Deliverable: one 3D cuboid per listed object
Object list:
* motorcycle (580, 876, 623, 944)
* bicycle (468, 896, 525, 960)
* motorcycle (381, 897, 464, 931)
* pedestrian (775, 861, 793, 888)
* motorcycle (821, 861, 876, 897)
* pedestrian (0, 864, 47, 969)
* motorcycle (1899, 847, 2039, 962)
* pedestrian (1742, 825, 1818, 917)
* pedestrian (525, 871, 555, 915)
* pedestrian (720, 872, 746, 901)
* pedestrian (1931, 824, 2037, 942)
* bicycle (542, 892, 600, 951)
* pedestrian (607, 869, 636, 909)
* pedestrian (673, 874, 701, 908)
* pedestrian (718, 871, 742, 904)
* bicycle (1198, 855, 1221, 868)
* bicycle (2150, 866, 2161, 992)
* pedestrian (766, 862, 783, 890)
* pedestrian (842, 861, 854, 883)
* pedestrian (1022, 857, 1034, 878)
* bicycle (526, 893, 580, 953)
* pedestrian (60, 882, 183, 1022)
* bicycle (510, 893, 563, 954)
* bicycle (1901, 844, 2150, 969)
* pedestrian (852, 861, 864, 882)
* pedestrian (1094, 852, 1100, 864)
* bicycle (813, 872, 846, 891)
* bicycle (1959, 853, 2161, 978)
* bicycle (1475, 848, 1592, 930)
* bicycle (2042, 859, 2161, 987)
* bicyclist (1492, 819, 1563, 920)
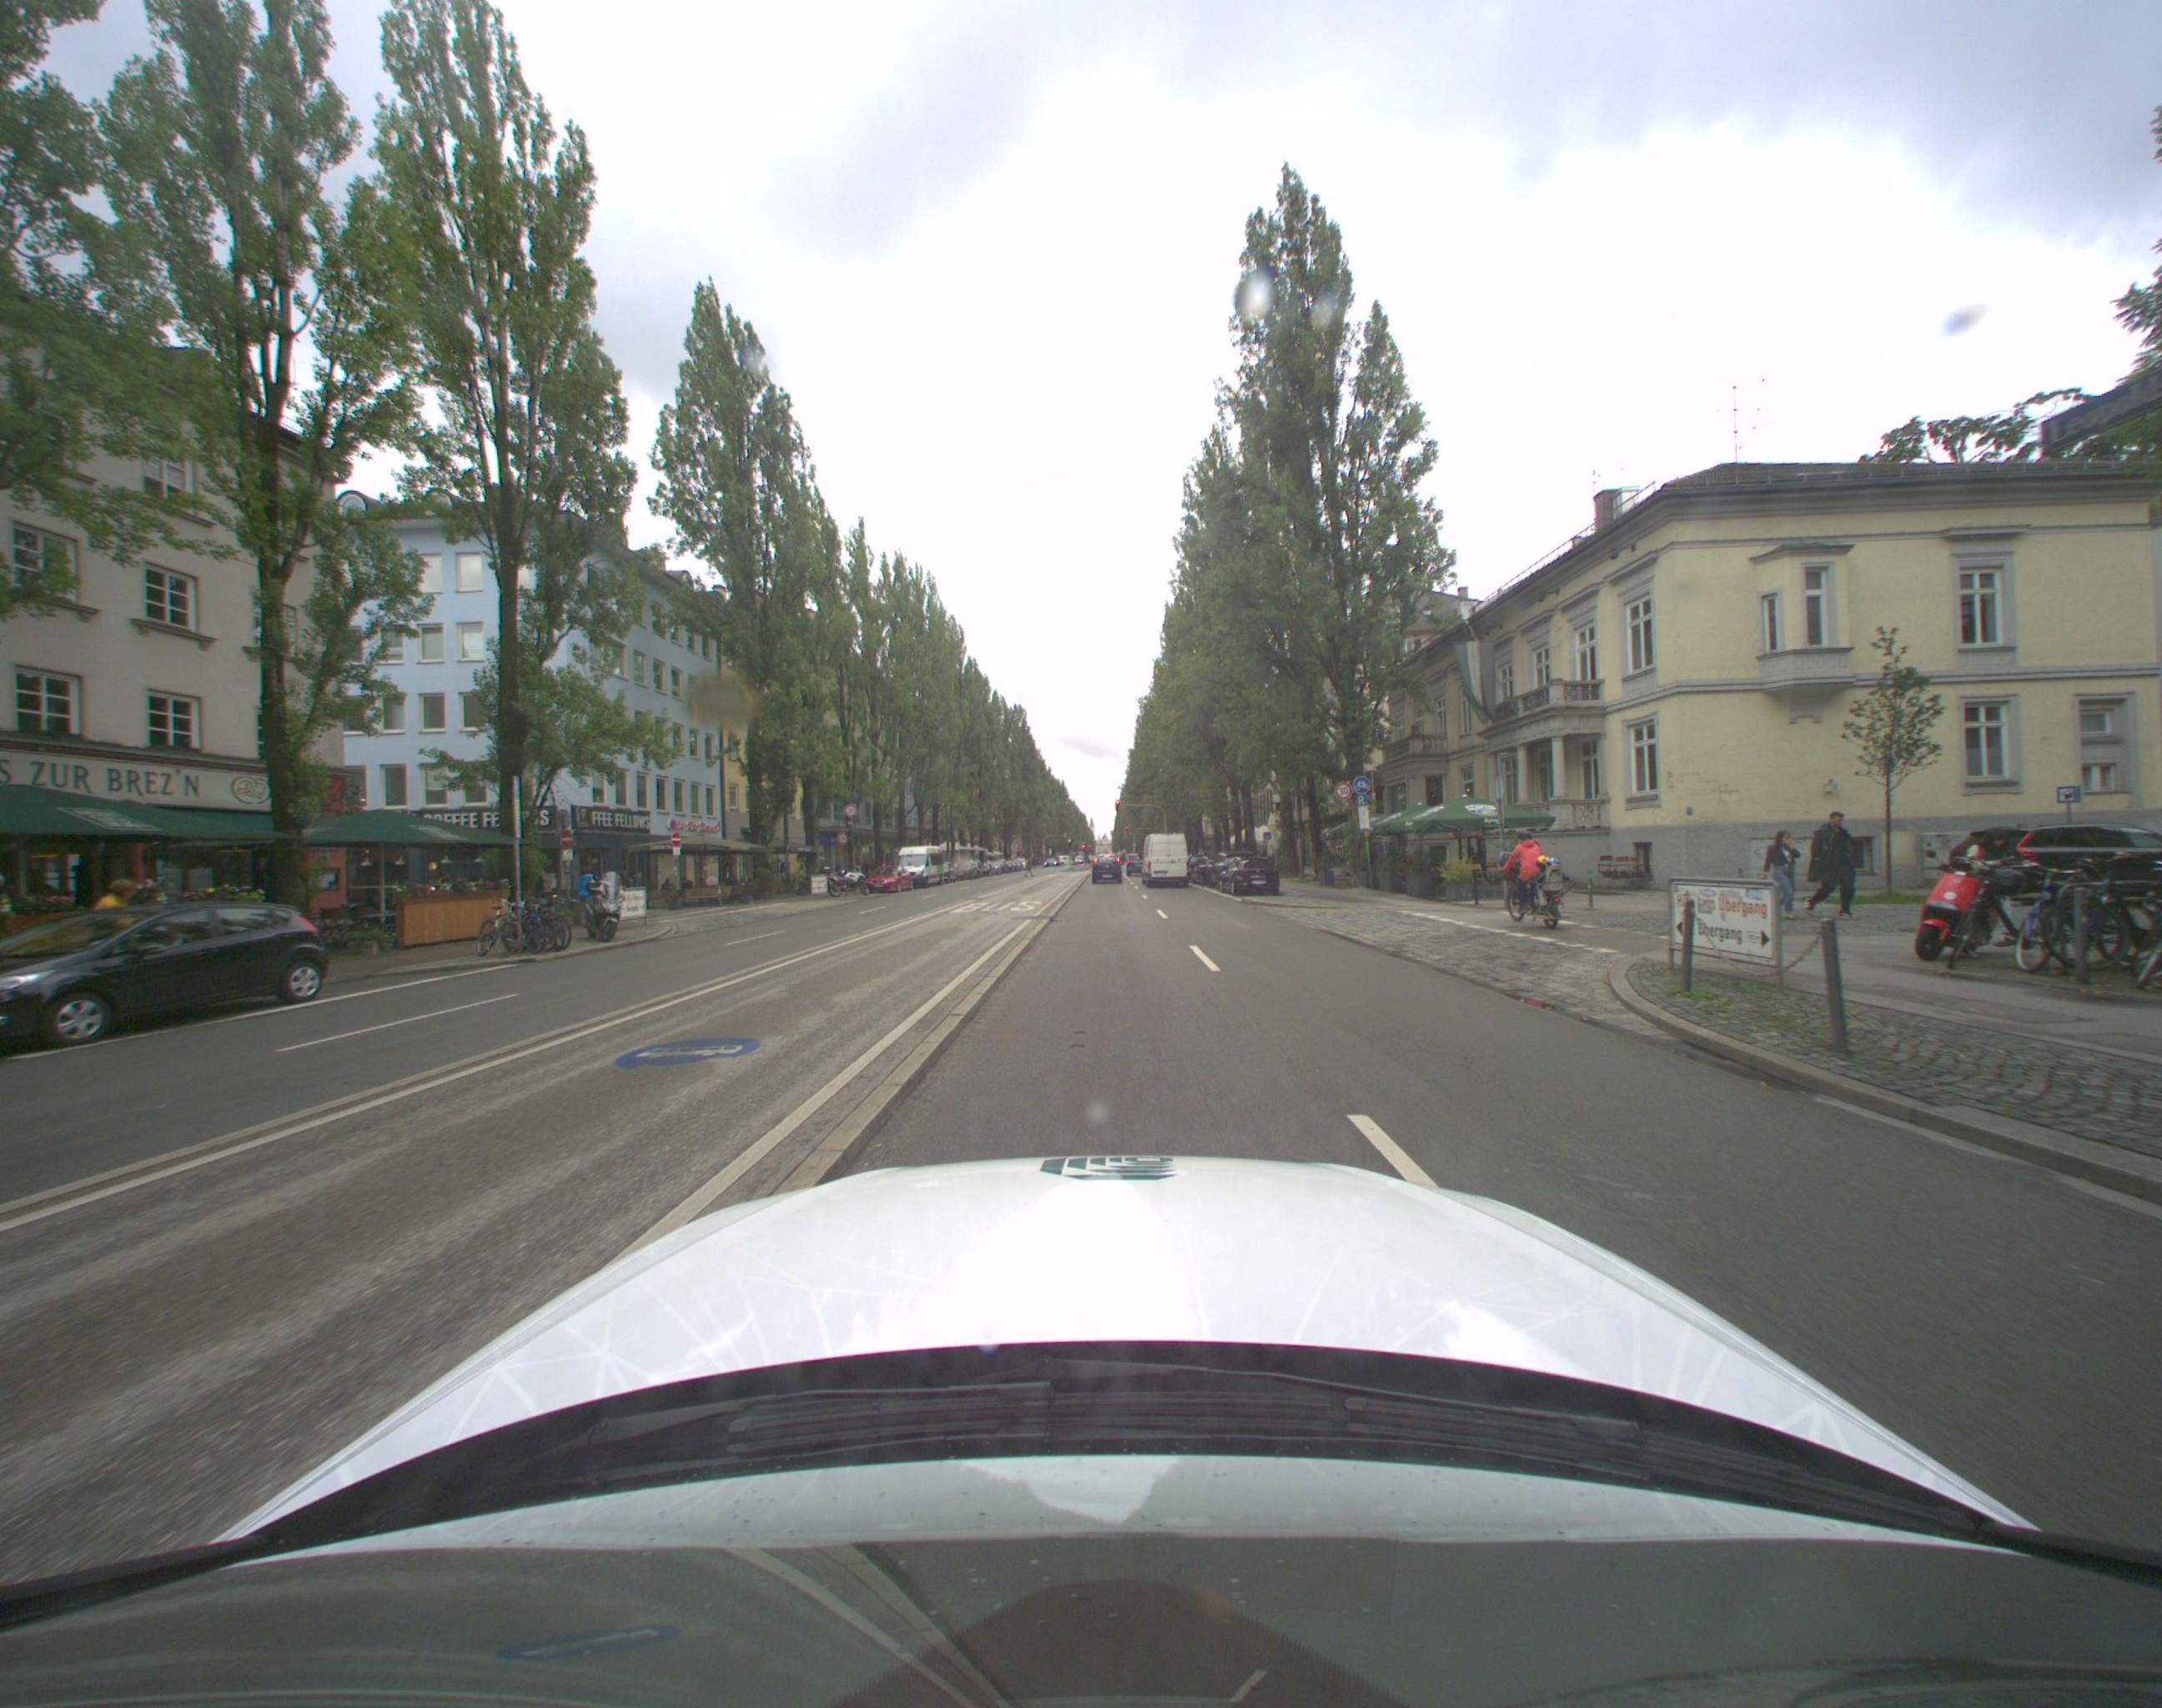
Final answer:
[{"bbox_3d":[-11.050,1.235,18.716,0.748,1.414,2.430,-2,0,-32],"label":"motorcycle"},{"bbox_3d":[-11.286,1.396,15.701,1.956,1.125,0.344,-1,-1,38],"label":"bicycle"},{"bbox_3d":[-26.591,2.413,32.909,2.748,1.203,0.739,-2,1,2],"label":"motorcycle"},{"bbox_3d":[-18.415,1.293,50.451,0.691,1.636,0.731,-2,0,26],"label":"pedestrian"},{"bbox_3d":[-10.713,1.147,37.551,2.360,1.563,0.706,-1,0,-41],"label":"motorcycle"},{"bbox_3d":[-20.201,1.162,15.164,0.694,1.926,0.906,-2,0,4],"label":"pedestrian"},{"bbox_3d":[10.481,0.561,9.601,1.963,1.221,0.510,-2,0,-25],"label":"motorcycle"},{"bbox_3d":[12.904,0.311,15.057,0.741,1.661,0.771,0,-1,1],"label":"pedestrian"},{"bbox_3d":[-22.513,1.619,33.895,0.953,1.773,0.693,-2,-1,-29],"label":"pedestrian"},{"bbox_3d":[-15.104,1.401,35.364,0.813,1.183,0.700,-2,0,0],"label":"pedestrian"},{"bbox_3d":[12.376,0.386,11.186,0.740,1.571,0.615,0,-1,4],"label":"pedestrian"},{"bbox_3d":[-10.602,1.369,16.901,1.956,1.125,0.363,-1,-1,38],"label":"bicycle"},{"bbox_3d":[-20.146,1.521,35.703,0.753,1.686,0.786,-2,0,4],"label":"pedestrian"},{"bbox_3d":[-16.551,1.554,34.198,0.694,1.362,0.820,-2,0,4],"label":"pedestrian"},{"bbox_3d":[-15.489,1.470,35.951,0.711,1.362,0.700,-2,0,0],"label":"pedestrian"},{"bbox_3d":[12.860,0.766,81.583,2.220,1.204,0.626,-2,0,-1],"label":"bicycle"},{"bbox_3d":[10.162,0.612,6.693,1.933,1.076,0.561,-2,0,2],"label":"bicycle"},{"bbox_3d":[-18.805,1.341,49.961,0.691,1.636,0.567,-2,-1,25],"label":"pedestrian"},{"bbox_3d":[-19.106,1.471,66.767,0.694,1.795,0.728,-2,0,6],"label":"pedestrian"},{"bbox_3d":[-4.344,1.101,66.779,0.857,1.684,0.626,-2,0,-2],"label":"pedestrian"},{"bbox_3d":[-10.795,1.373,16.618,1.956,1.125,0.284,-1,-1,38],"label":"bicycle"},{"bbox_3d":[-12.616,1.262,10.727,0.696,1.726,0.732,-2,0,-1],"label":"pedestrian"},{"bbox_3d":[-10.972,1.371,16.394,1.956,1.125,0.284,-1,-1,38],"label":"bicycle"},{"bbox_3d":[10.079,0.546,8.732,1.933,1.239,0.561,-2,0,2],"label":"bicycle"},{"bbox_3d":[-18.263,1.427,66.796,0.694,1.700,0.728,-2,0,6],"label":"pedestrian"},{"bbox_3d":[2.400,0.630,122.152,0.719,1.827,0.885,0,-1,-8],"label":"pedestrian"},{"bbox_3d":[-14.854,1.622,48.116,1.768,1.026,0.421,-2,0,-2],"label":"bicycle"},{"bbox_3d":[10.031,0.591,8.088,1.933,1.137,0.561,-2,0,2],"label":"bicycle"},{"bbox_3d":[8.157,0.590,14.845,0.770,1.349,2.450,-2,0,1],"label":"bicycle"},{"bbox_3d":[10.114,0.599,7.437,1.933,1.089,0.561,-2,0,2],"label":"bicycle"},{"bbox_3d":[8.150,0.277,14.907,0.764,1.766,0.885,-2,0,1],"label":"bicyclist"}]
